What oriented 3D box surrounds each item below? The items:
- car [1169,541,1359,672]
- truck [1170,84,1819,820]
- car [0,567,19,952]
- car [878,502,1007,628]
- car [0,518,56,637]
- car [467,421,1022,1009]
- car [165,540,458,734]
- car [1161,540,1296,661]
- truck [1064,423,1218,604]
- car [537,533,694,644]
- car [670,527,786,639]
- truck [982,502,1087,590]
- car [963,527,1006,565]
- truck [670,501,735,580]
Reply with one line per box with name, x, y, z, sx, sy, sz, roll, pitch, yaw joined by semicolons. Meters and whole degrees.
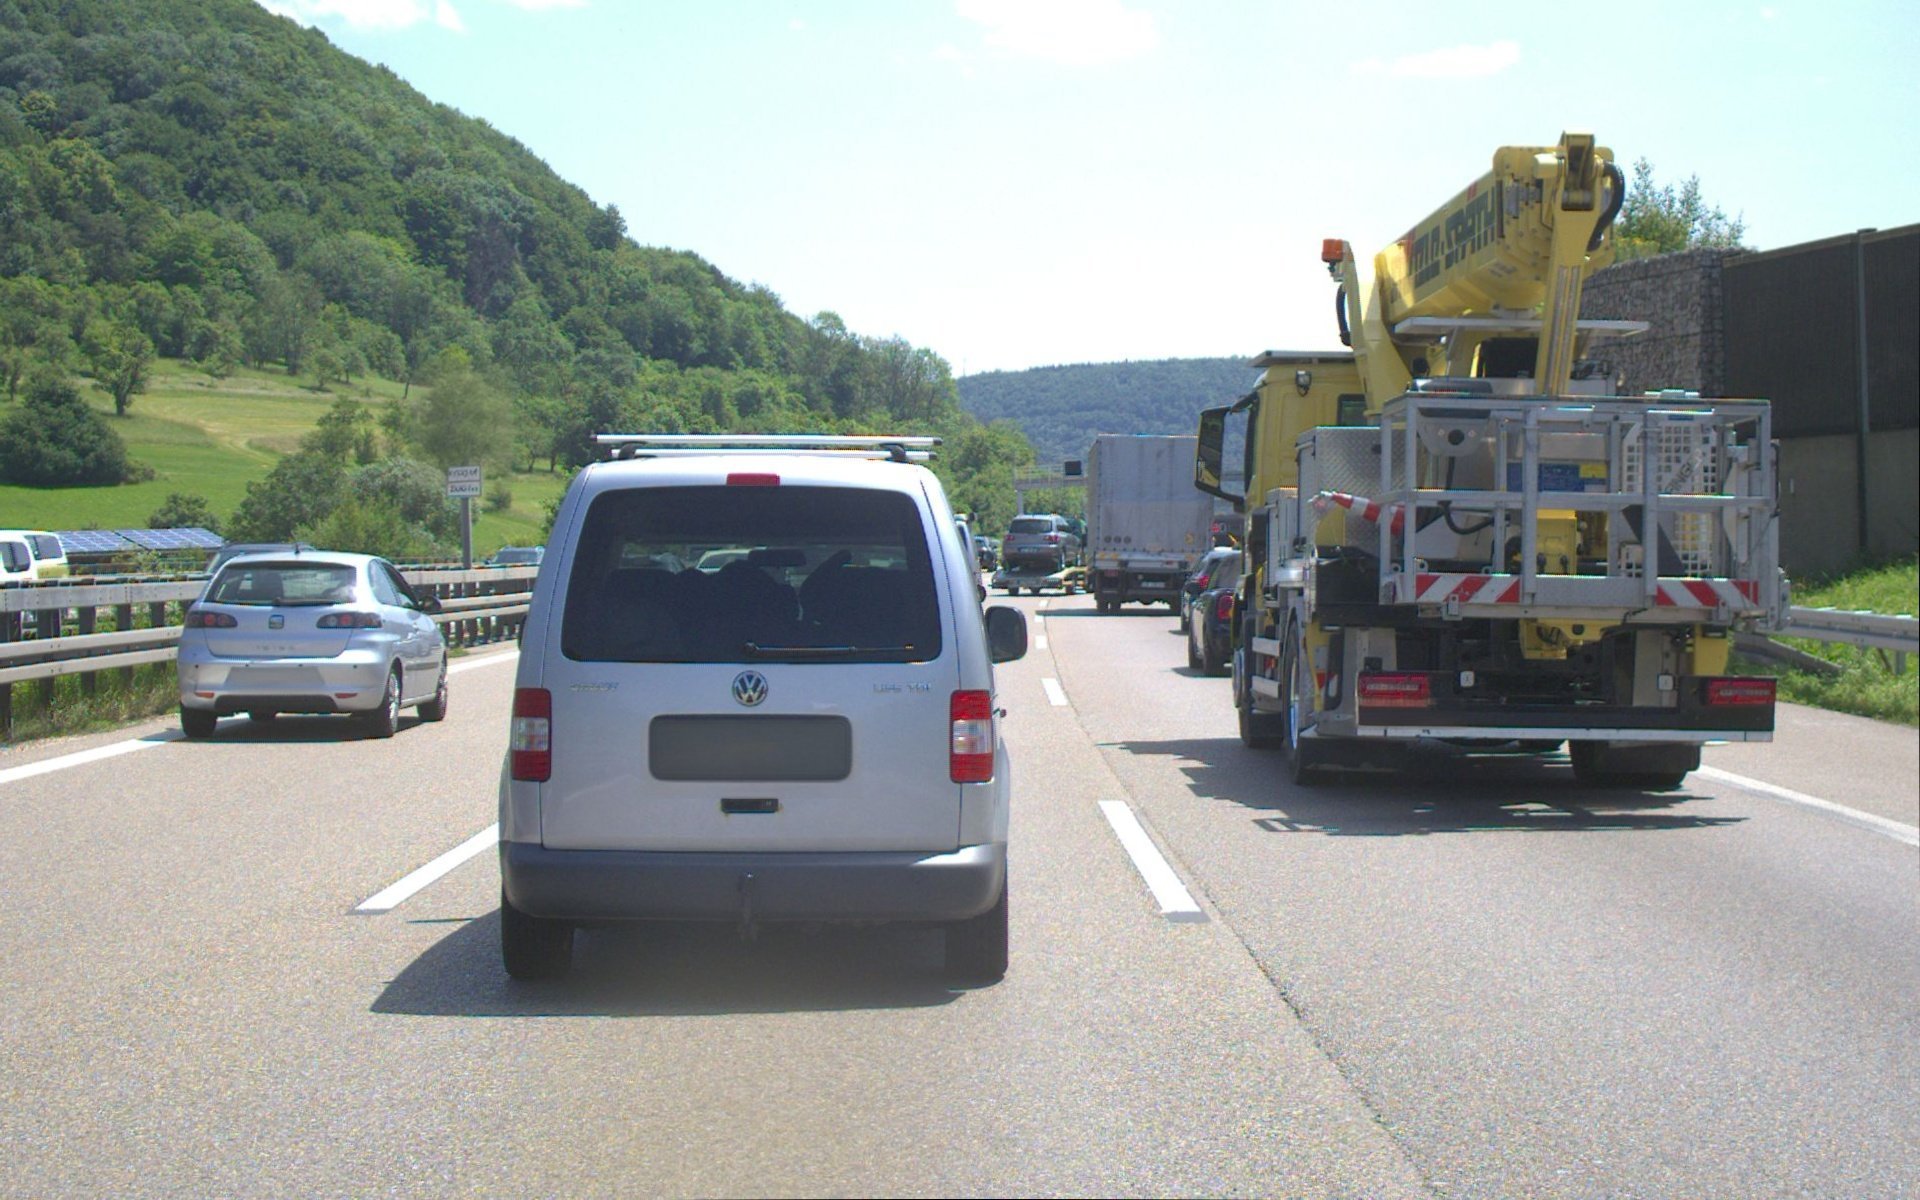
car;3.512;0.040;40.305;1.786;1.453;3.771;0;1;-2
truck;3.128;-0.868;22.745;2.703;3.929;8.722;0;1;-2
car;-4.318;0.617;10.127;1.800;1.385;4.970;0;1;-1
car;-0.324;-0.579;55.744;1.993;1.969;4.000;0;1;-2
car;-15.756;-0.358;53.602;1.993;1.832;5.227;0;1;-1
car;-0.737;0.329;12.924;1.756;1.861;4.000;0;1;-2
car;-5.120;0.241;27.580;1.695;1.440;3.862;0;1;-1
car;4.560;-0.026;58.881;1.993;2.007;4.000;0;1;0
truck;3.984;-1.888;77.491;2.940;3.810;8.237;1;0;0
car;-4.867;-0.187;48.987;1.924;1.494;4.000;1;1;-2
car;-4.345;-0.345;64.799;1.993;2.007;4.000;-1;1;-2
truck;2.262;-1.613;102.491;2.391;2.532;5.937;0;1;8
car;1.171;-2.596;166.413;1.993;1.799;4.000;1;0;0
truck;-14.031;-3.216;187.743;2.798;4.217;7.231;1;0;1
